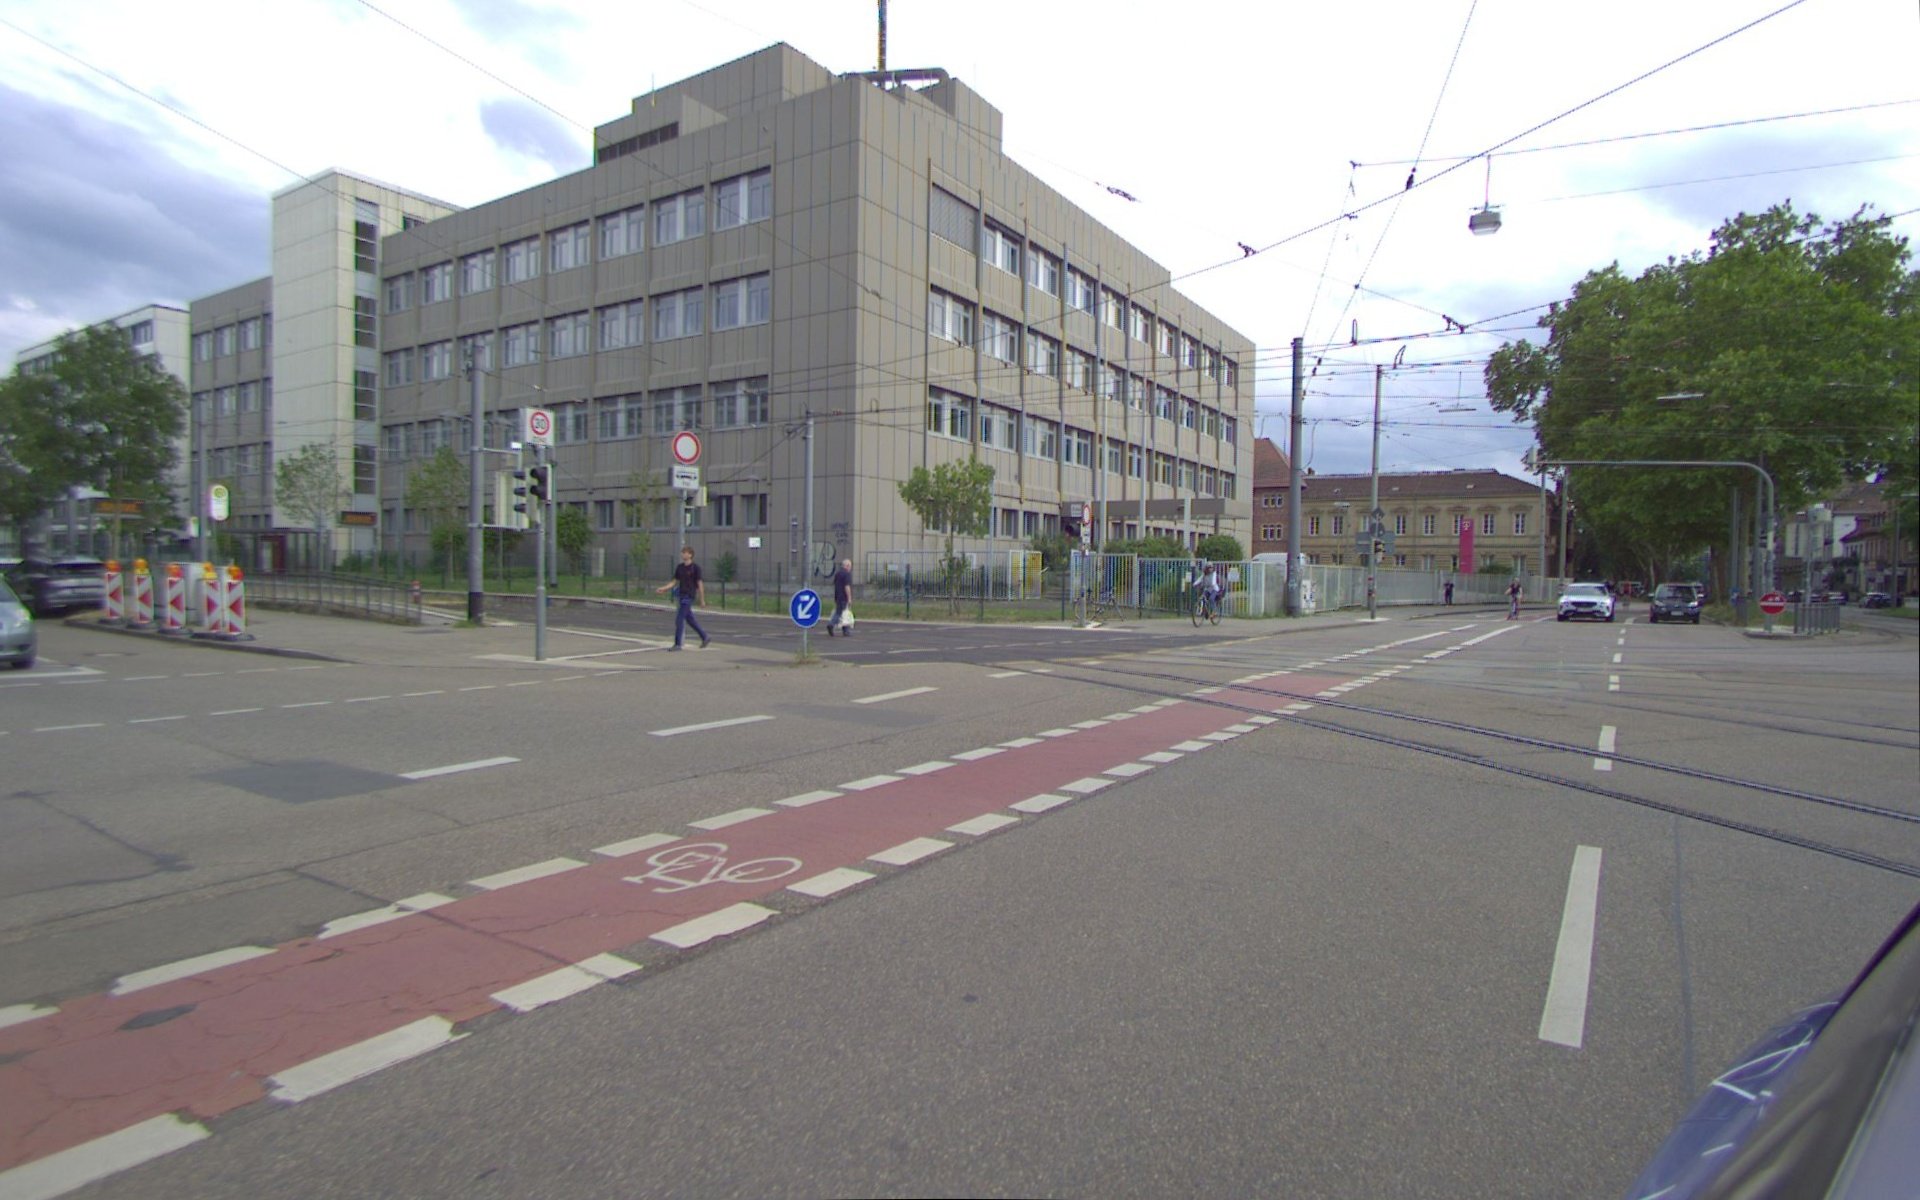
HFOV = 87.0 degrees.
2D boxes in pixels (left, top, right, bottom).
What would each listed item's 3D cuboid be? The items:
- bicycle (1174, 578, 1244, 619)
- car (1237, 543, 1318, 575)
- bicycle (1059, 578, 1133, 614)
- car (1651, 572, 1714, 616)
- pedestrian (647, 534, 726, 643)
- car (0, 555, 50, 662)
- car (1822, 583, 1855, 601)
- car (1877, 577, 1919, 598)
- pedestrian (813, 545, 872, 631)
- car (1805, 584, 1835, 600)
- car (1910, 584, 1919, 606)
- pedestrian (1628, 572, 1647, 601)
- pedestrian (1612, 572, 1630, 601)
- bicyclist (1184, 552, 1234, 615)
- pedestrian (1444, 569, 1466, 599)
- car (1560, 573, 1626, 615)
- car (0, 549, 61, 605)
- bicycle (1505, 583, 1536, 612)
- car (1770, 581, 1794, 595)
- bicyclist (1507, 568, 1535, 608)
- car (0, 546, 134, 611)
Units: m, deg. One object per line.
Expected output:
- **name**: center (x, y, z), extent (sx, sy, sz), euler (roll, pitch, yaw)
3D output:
- **bicycle**: center (6.976, -0.059, 28.300), extent (2.147, 1.100, 0.801), euler (-1, 3, -42)
- **car**: center (25.754, -3.318, 82.196), extent (5.852, 2.428, 2.541), euler (2, 2, 31)
- **bicycle**: center (4.108, -0.129, 30.588), extent (2.114, 0.992, 0.636), euler (-2, 2, -13)
- **car**: center (27.992, -0.277, 39.175), extent (1.827, 1.586, 4.361), euler (2, 2, 37)
- **pedestrian**: center (-4.983, -0.229, 18.446), extent (0.897, 1.921, 1.075), euler (2, 2, 38)
- **car**: center (-15.501, 0.043, 15.215), extent (4.204, 1.525, 1.653), euler (2, 0, 33)
- **car**: center (98.429, -0.916, 113.430), extent (2.082, 1.829, 4.370), euler (2, 2, 32)
- **car**: center (85.978, -1.153, 92.710), extent (2.082, 1.829, 4.370), euler (2, 2, 32)
- **pedestrian**: center (-2.656, -0.291, 22.930), extent (0.899, 1.878, 0.976), euler (3, 2, 44)
- **car**: center (104.973, -1.024, 123.562), extent (2.082, 1.829, 4.370), euler (2, 2, 32)
- **car**: center (80.647, -0.398, 83.778), extent (2.082, 1.829, 4.370), euler (2, 2, 32)
- **pedestrian**: center (45.285, -0.895, 67.668), extent (0.833, 1.888, 1.232), euler (2, 2, 43)
- **pedestrian**: center (44.597, -0.933, 68.269), extent (0.833, 1.888, 1.158), euler (2, 2, 43)
- **bicyclist**: center (6.952, -0.472, 28.266), extent (1.162, 1.722, 0.802), euler (-1, 2, -42)
- **pedestrian**: center (27.590, -0.898, 56.424), extent (0.880, 1.589, 0.966), euler (2, 2, 39)
- **car**: center (24.899, -0.282, 39.731), extent (1.987, 1.523, 4.366), euler (2, 2, 35)
- **car**: center (-29.265, -0.744, 30.754), extent (4.043, 1.625, 1.693), euler (2, 2, 29)
- **bicycle**: center (22.857, -0.107, 41.245), extent (0.798, 1.100, 2.529), euler (2, 2, 36)
- **car**: center (117.577, -1.720, 144.799), extent (2.083, 1.889, 4.368), euler (2, 2, 33)
- **bicyclist**: center (22.882, -0.499, 41.250), extent (0.798, 1.569, 1.312), euler (2, 2, 36)
- **car**: center (-24.730, -0.638, 27.752), extent (4.051, 1.648, 1.867), euler (2, 2, 29)
